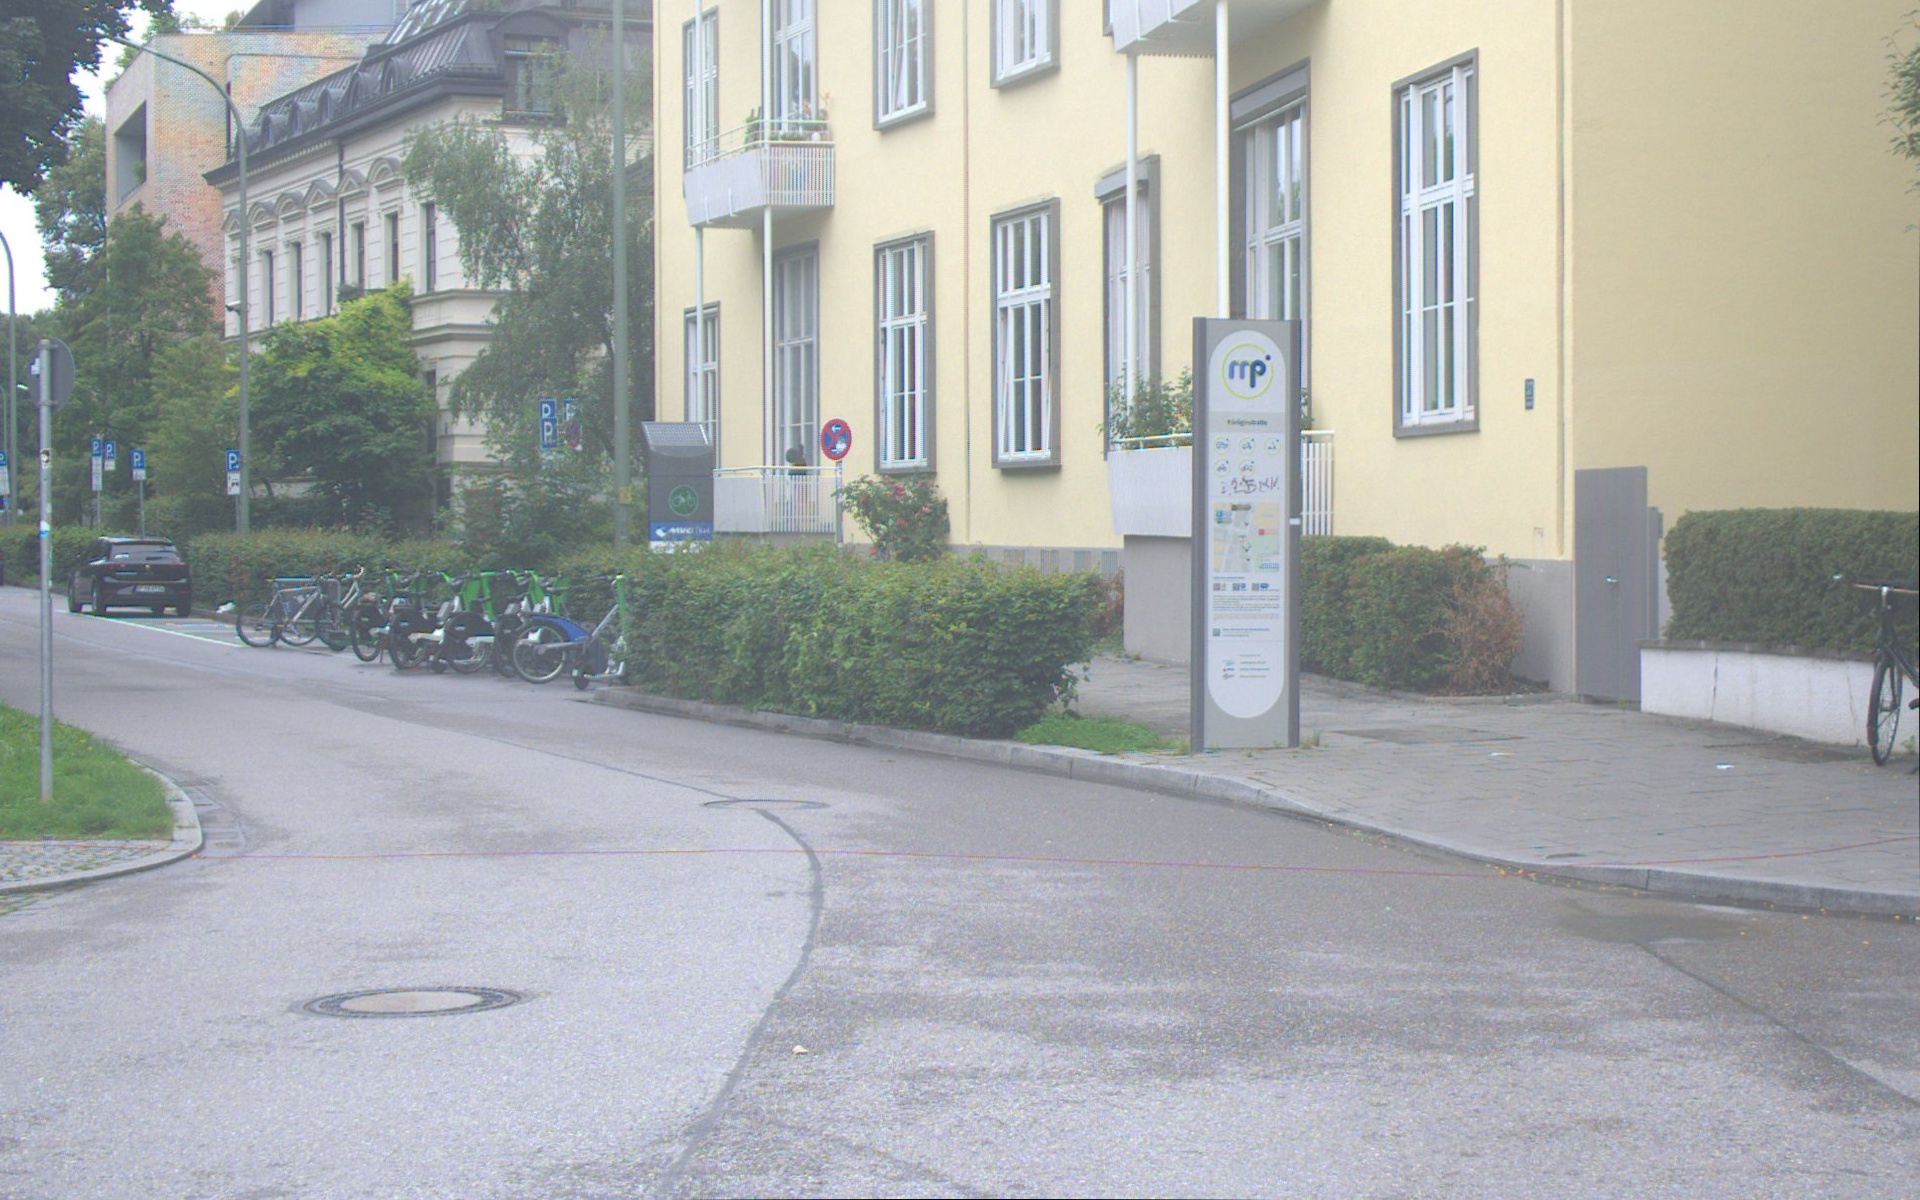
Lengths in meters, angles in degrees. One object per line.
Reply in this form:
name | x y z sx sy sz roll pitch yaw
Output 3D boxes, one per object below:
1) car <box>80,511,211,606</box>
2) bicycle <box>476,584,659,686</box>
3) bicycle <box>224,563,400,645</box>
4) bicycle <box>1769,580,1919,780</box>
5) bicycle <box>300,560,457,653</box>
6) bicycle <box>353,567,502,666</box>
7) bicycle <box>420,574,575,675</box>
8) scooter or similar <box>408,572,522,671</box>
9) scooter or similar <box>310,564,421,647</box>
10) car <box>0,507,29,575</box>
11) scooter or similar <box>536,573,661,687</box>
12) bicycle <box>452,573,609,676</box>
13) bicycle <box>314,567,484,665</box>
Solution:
car | -14.950 -0.773 62.969 1.863 1.628 4.284 -2 1 -19
bicycle | -4.167 0.363 36.506 1.822 1.002 0.578 -2 1 -24
bicycle | -9.168 0.053 48.685 2.331 1.082 0.693 -2 1 -27
bicycle | 5.446 0.442 19.778 0.608 1.069 2.218 -1 1 -13
bicycle | -7.212 0.068 42.755 0.764 1.082 2.138 -1 1 28
bicycle | -6.199 0.186 40.158 0.638 1.082 1.983 -1 1 28
bicycle | -5.279 0.271 39.374 0.577 1.082 1.929 0 2 35
scooter or similar | -5.719 0.242 39.772 0.496 1.084 1.407 0 1 31
scooter or similar | -8.109 0.071 46.908 1.405 1.084 0.597 -1 1 -3
car | -24.844 -1.465 86.440 2.176 1.651 4.507 -2 1 -22
scooter or similar | -3.684 0.299 35.166 0.496 1.105 1.407 0 1 31
bicycle | -4.828 0.262 38.770 0.577 1.082 1.929 0 2 35
bicycle | -6.656 0.178 40.930 0.697 1.082 2.335 -1 1 28
